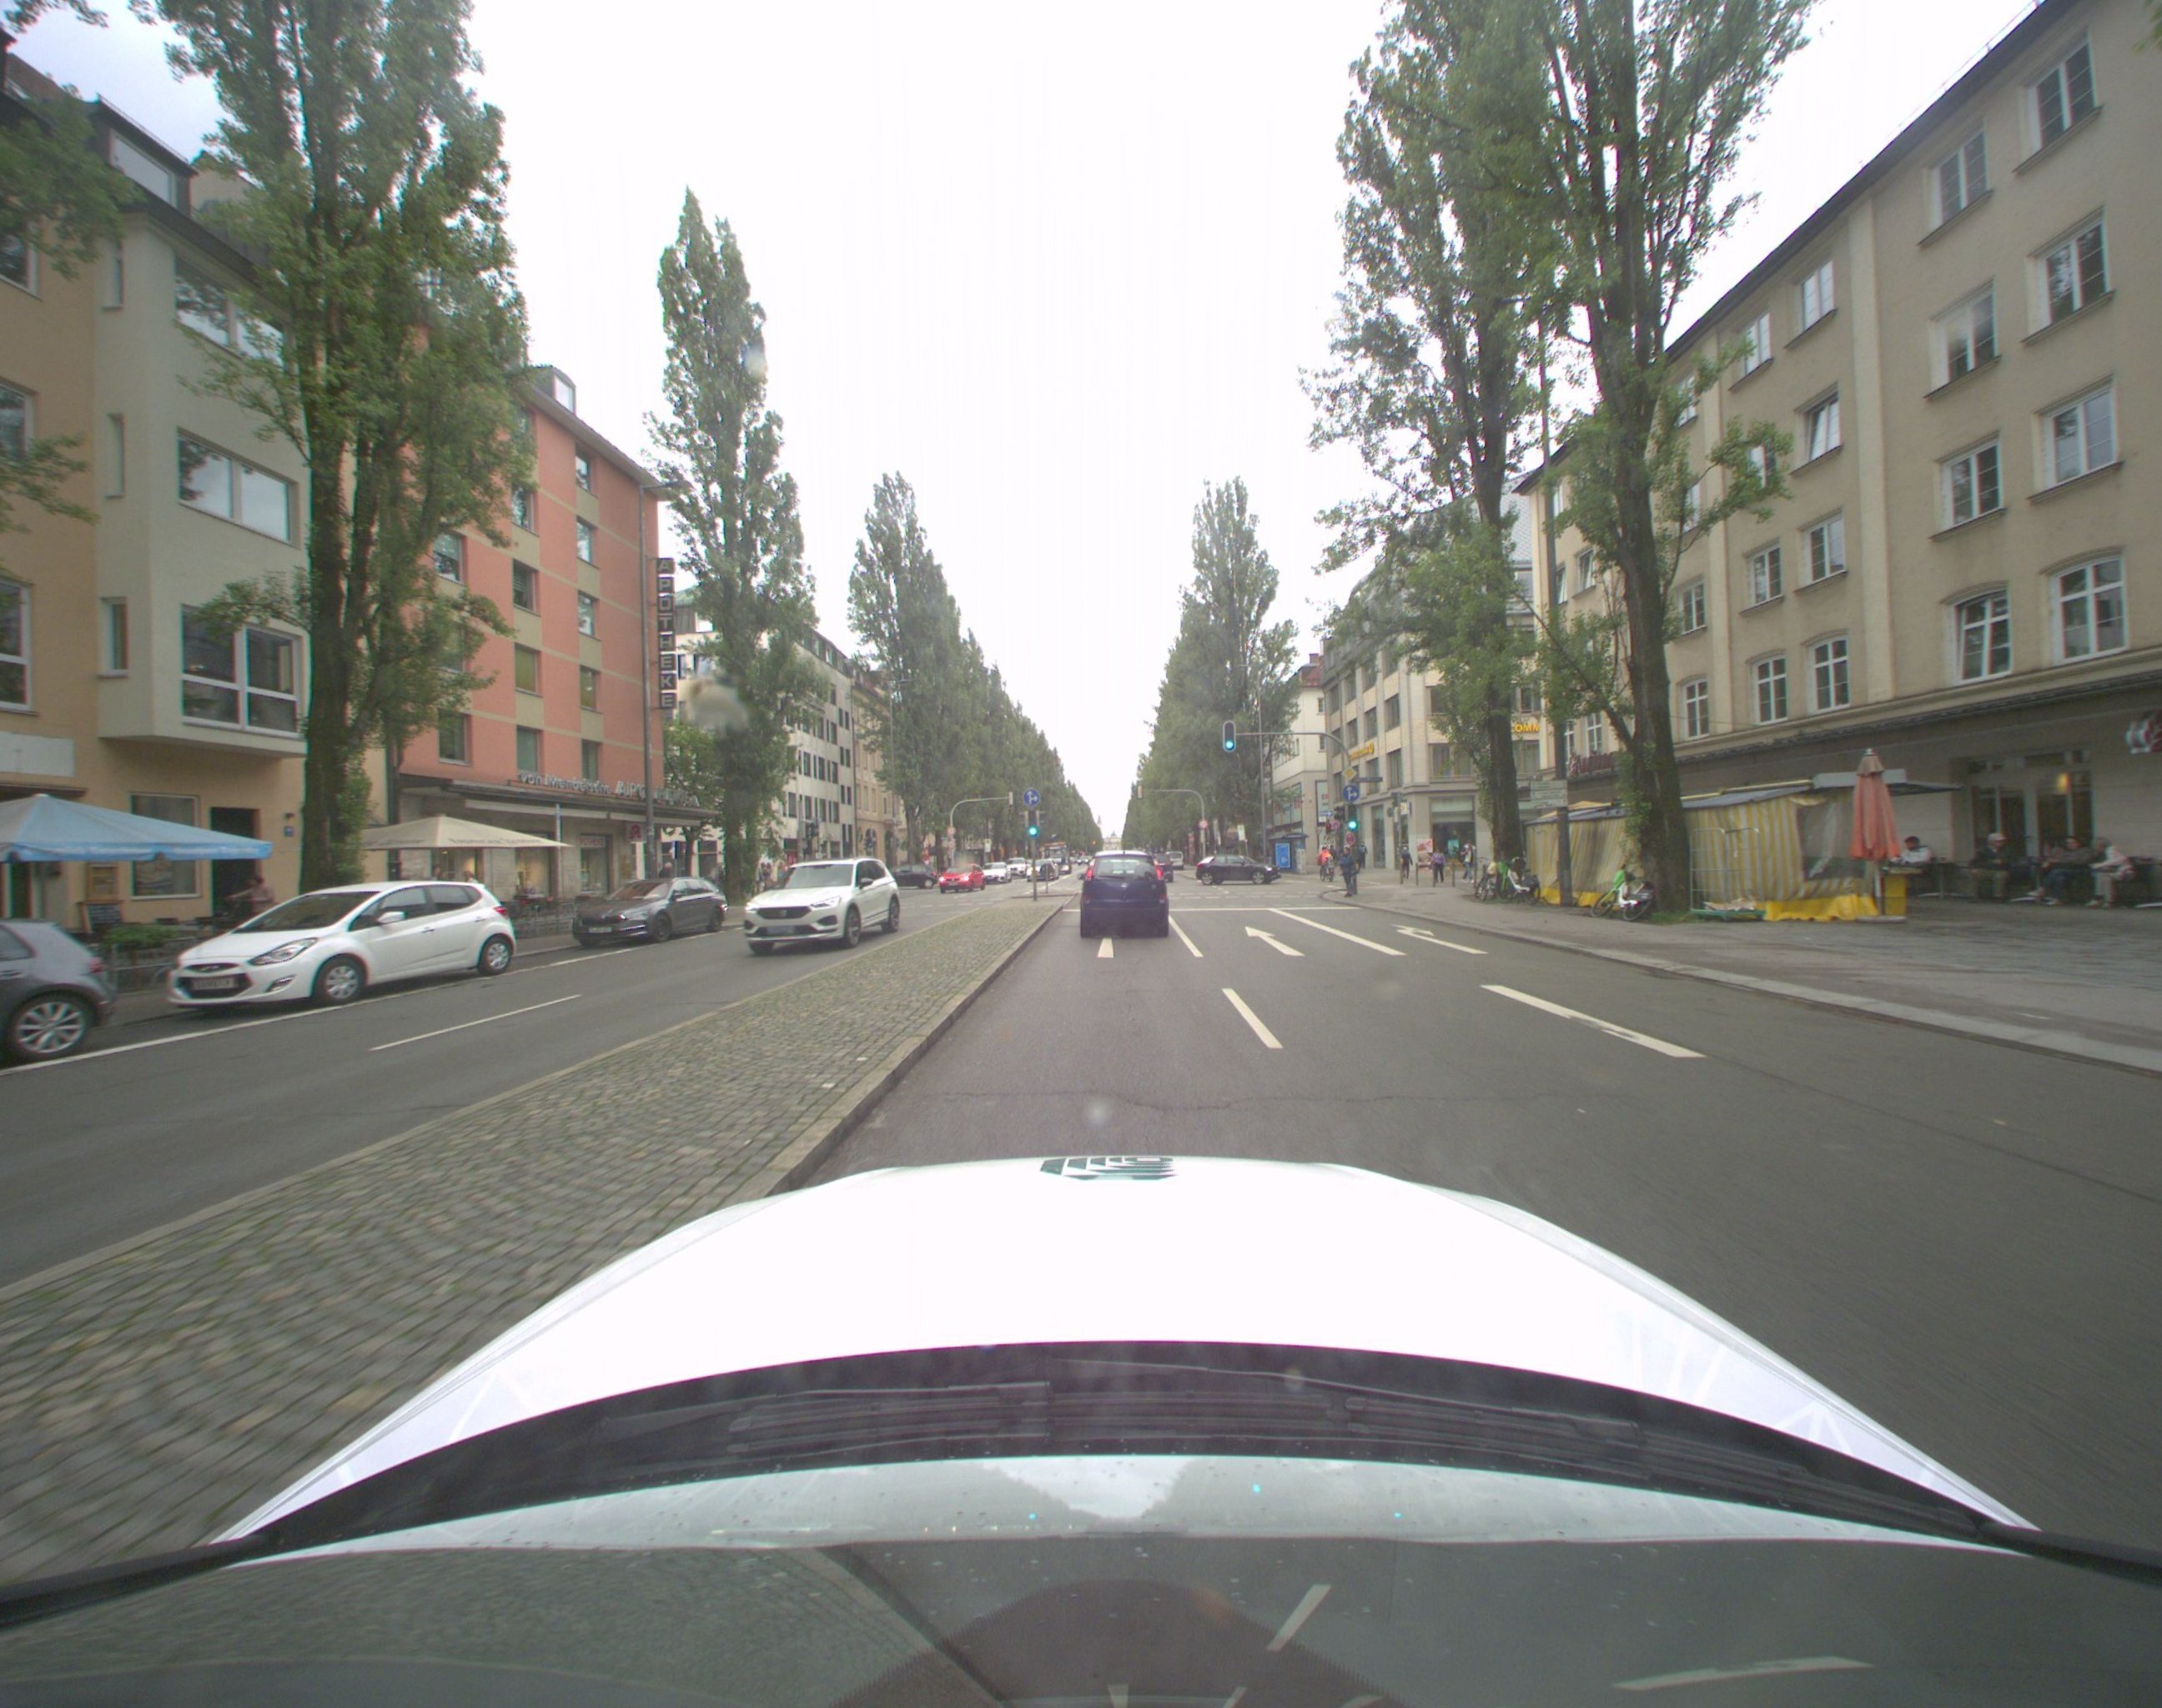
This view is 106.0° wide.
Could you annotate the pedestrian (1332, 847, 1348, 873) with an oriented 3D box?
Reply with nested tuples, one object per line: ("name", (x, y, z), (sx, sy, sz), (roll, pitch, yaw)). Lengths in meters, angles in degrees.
("pedestrian", (16.976, 0.385, 53.444), (0.747, 1.677, 0.964), (-2, 0, 3))

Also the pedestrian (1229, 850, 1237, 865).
("pedestrian", (19.432, 0.474, 104.203), (0.822, 1.841, 1.101), (-2, -1, 5))

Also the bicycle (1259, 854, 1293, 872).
("bicycle", (14.316, 0.684, 59.746), (2.334, 1.252, 0.633), (-2, 0, 1))

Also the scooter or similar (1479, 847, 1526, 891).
("scooter or similar", (12.425, 0.436, 24.046), (0.407, 1.243, 1.365), (-2, 0, -14))

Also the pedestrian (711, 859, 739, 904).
("pedestrian", (-14.578, 1.112, 33.380), (0.721, 1.771, 0.778), (-2, 0, 3))

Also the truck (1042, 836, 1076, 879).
("truck", (-1.989, 0.296, 76.034), (2.453, 3.670, 8.444), (-2, 0, 2))

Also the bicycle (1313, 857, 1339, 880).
("bicycle", (11.980, 0.682, 39.912), (0.624, 1.087, 2.264), (-2, 0, 2))

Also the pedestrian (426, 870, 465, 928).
("pedestrian", (-18.565, 1.295, 23.799), (0.552, 1.638, 0.692), (-2, 0, 1))

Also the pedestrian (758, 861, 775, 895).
("pedestrian", (-15.980, 1.227, 41.340), (0.627, 1.689, 0.519), (-1, -1, 3))

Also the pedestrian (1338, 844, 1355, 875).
("pedestrian", (15.479, 0.301, 47.503), (0.705, 1.758, 0.753), (-2, 0, 3))

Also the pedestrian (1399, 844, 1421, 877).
("pedestrian", (16.584, 0.334, 41.101), (0.746, 1.636, 0.735), (-3, -2, 4))

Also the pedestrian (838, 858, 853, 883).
("pedestrian", (-17.244, 1.193, 59.693), (0.796, 1.787, 0.912), (0, 0, 2))

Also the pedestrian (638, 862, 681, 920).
("pedestrian", (-13.550, 1.175, 26.197), (0.729, 1.796, 0.997), (-1, -1, 20))

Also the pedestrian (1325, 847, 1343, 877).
("pedestrian", (15.349, 0.470, 49.460), (0.815, 1.818, 0.891), (-2, 0, 1))

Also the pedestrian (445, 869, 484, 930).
("pedestrian", (-17.931, 1.298, 23.691), (0.552, 1.717, 0.692), (-2, 0, 1))

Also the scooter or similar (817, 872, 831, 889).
("scooter or similar", (-16.298, 1.678, 51.625), (0.811, 1.093, 0.274), (0, -1, -2))

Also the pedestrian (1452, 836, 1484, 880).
("pedestrian", (15.316, 0.160, 32.261), (0.669, 1.703, 0.851), (0, -3, -37))

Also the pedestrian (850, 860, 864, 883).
("pedestrian", (-16.442, 1.288, 59.749), (0.729, 1.681, 0.978), (0, 0, 2))

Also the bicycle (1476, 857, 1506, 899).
("bicycle", (11.203, 0.632, 22.300), (0.401, 1.070, 1.820), (4, 1, 18))

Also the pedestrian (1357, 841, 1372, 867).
("pedestrian", (19.365, 0.017, 55.667), (0.747, 1.758, 0.711), (-2, 0, 3))

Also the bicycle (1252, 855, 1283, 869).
("bicycle", (14.078, 0.584, 61.510), (2.140, 1.017, 0.875), (-2, 0, 1))

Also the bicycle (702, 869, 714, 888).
("bicycle", (-23.929, 1.585, 52.300), (0.416, 1.184, 1.997), (-2, 0, -17))

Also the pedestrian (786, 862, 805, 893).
("pedestrian", (-16.009, 1.305, 45.708), (0.724, 1.740, 0.942), (0, -1, 2))

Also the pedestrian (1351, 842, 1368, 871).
("pedestrian", (17.288, 0.159, 50.591), (0.747, 1.758, 0.860), (-2, -2, 3))

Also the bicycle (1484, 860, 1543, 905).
("bicycle", (10.668, 0.683, 20.142), (0.506, 1.048, 1.770), (-2, 0, 1))

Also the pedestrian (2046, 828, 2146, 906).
("pedestrian", (17.091, 0.211, 13.732), (0.772, 1.264, 0.700), (-2, 0, 2))

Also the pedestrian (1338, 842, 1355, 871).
("pedestrian", (16.500, 0.166, 50.690), (0.747, 1.758, 0.860), (-2, -2, 3))

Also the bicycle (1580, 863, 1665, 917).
("bicycle", (10.674, 0.687, 16.125), (0.506, 0.975, 1.770), (-2, 0, 1))

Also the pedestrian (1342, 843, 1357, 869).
("pedestrian", (18.348, 0.153, 55.658), (0.747, 1.758, 1.018), (-2, 0, 3))

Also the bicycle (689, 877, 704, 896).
("bicycle", (-24.976, 2.089, 52.905), (0.450, 1.184, 2.054), (-2, 0, -13))

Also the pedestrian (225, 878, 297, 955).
("pedestrian", (-18.639, 1.399, 18.522), (0.777, 1.668, 0.802), (-2, 0, 1))

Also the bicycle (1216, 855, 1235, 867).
("bicycle", (13.858, 0.652, 77.979), (1.737, 1.110, 0.447), (-2, 0, -8))
